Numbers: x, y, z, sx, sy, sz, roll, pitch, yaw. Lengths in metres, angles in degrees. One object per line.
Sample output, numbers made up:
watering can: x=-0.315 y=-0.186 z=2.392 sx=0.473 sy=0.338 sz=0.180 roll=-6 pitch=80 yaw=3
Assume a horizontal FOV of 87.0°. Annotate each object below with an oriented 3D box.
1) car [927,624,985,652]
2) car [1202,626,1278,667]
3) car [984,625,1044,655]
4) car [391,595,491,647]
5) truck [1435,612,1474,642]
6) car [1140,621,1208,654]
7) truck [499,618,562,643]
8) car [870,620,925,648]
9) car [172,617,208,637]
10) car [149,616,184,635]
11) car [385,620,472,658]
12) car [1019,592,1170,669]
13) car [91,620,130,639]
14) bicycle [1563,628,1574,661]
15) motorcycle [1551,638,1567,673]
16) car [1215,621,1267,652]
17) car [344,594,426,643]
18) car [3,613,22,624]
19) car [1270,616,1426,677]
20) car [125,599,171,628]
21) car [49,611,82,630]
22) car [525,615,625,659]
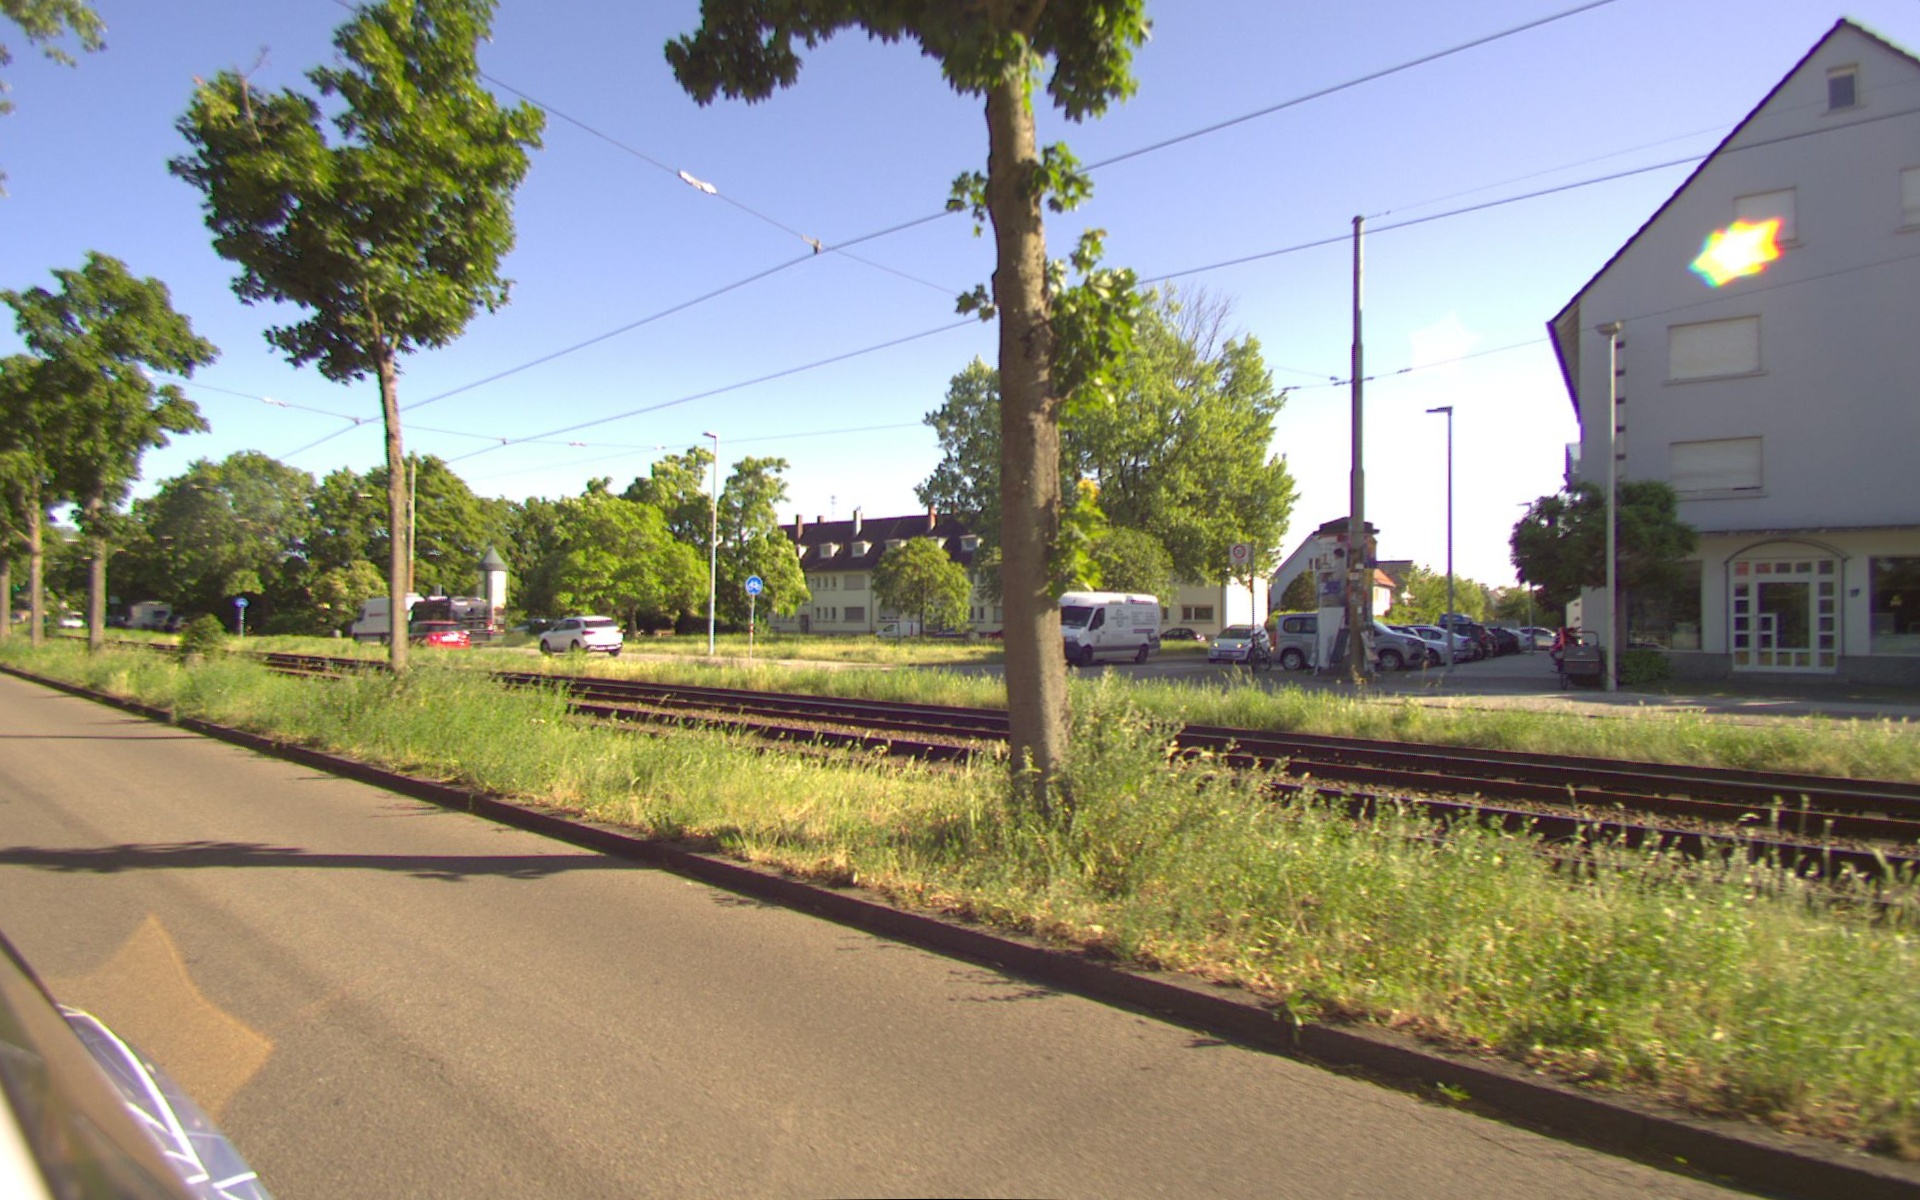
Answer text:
car: x=-0.333 y=2.844 z=77.099 sx=3.990 sy=2.029 sz=1.977 roll=0 pitch=0 yaw=34
car: x=11.095 y=1.797 z=39.989 sx=1.747 sy=1.489 sz=3.581 roll=-1 pitch=-1 yaw=36
car: x=3.950 y=2.913 z=73.916 sx=3.991 sy=2.029 sz=1.976 roll=0 pitch=0 yaw=35
car: x=-25.588 y=0.974 z=49.743 sx=6.462 sy=2.394 sz=2.160 roll=0 pitch=0 yaw=41
truck: x=37.286 y=1.984 z=76.234 sx=1.996 sy=2.105 sz=4.079 roll=-1 pitch=0 yaw=35
car: x=14.202 y=2.476 z=67.236 sx=3.996 sy=2.029 sz=1.974 roll=0 pitch=0 yaw=39
truck: x=-35.943 y=2.536 z=84.804 sx=2.069 sy=1.883 sz=4.907 roll=0 pitch=0 yaw=21
car: x=-4.945 y=2.670 z=80.299 sx=3.988 sy=2.029 sz=1.978 roll=0 pitch=0 yaw=33
car: x=-63.547 y=2.195 z=83.519 sx=4.248 sy=1.596 sz=1.656 roll=0 pitch=0 yaw=43
car: x=-68.974 y=2.195 z=87.956 sx=4.530 sy=1.635 sz=1.605 roll=0 pitch=0 yaw=41
car: x=-20.658 y=1.477 z=39.277 sx=3.998 sy=1.420 sz=1.659 roll=-1 pitch=-1 yaw=41
car: x=5.046 y=1.012 z=36.682 sx=2.326 sy=2.526 sz=7.001 roll=-1 pitch=-1 yaw=36
car: x=-70.474 y=2.412 z=83.952 sx=3.750 sy=1.543 sz=1.972 roll=-1 pitch=-1 yaw=42
bicycle: x=15.963 y=1.172 z=26.545 sx=0.191 sy=0.859 sz=0.750 roll=-1 pitch=-2 yaw=33
motorcycle: x=15.172 y=1.392 z=25.637 sx=0.310 sy=0.859 sz=0.883 roll=-1 pitch=-2 yaw=33
car: x=13.765 y=1.742 z=49.488 sx=1.510 sy=1.366 sz=3.245 roll=0 pitch=0 yaw=33
car: x=-31.336 y=0.972 z=55.065 sx=6.134 sy=2.515 sz=1.981 roll=0 pitch=0 yaw=41
car: x=-139.141 y=2.685 z=148.642 sx=4.441 sy=1.539 sz=1.708 roll=0 pitch=0 yaw=42
car: x=11.613 y=1.340 z=30.357 sx=4.087 sy=1.683 sz=1.781 roll=0 pitch=0 yaw=33
car: x=-74.712 y=1.252 z=93.100 sx=6.796 sy=2.600 sz=2.202 roll=-1 pitch=-1 yaw=41
car: x=-84.483 y=1.931 z=95.563 sx=4.980 sy=1.757 sz=1.792 roll=0 pitch=0 yaw=41
car: x=-15.660 y=1.461 z=41.073 sx=4.772 sy=1.619 sz=1.804 roll=0 pitch=0 yaw=42
